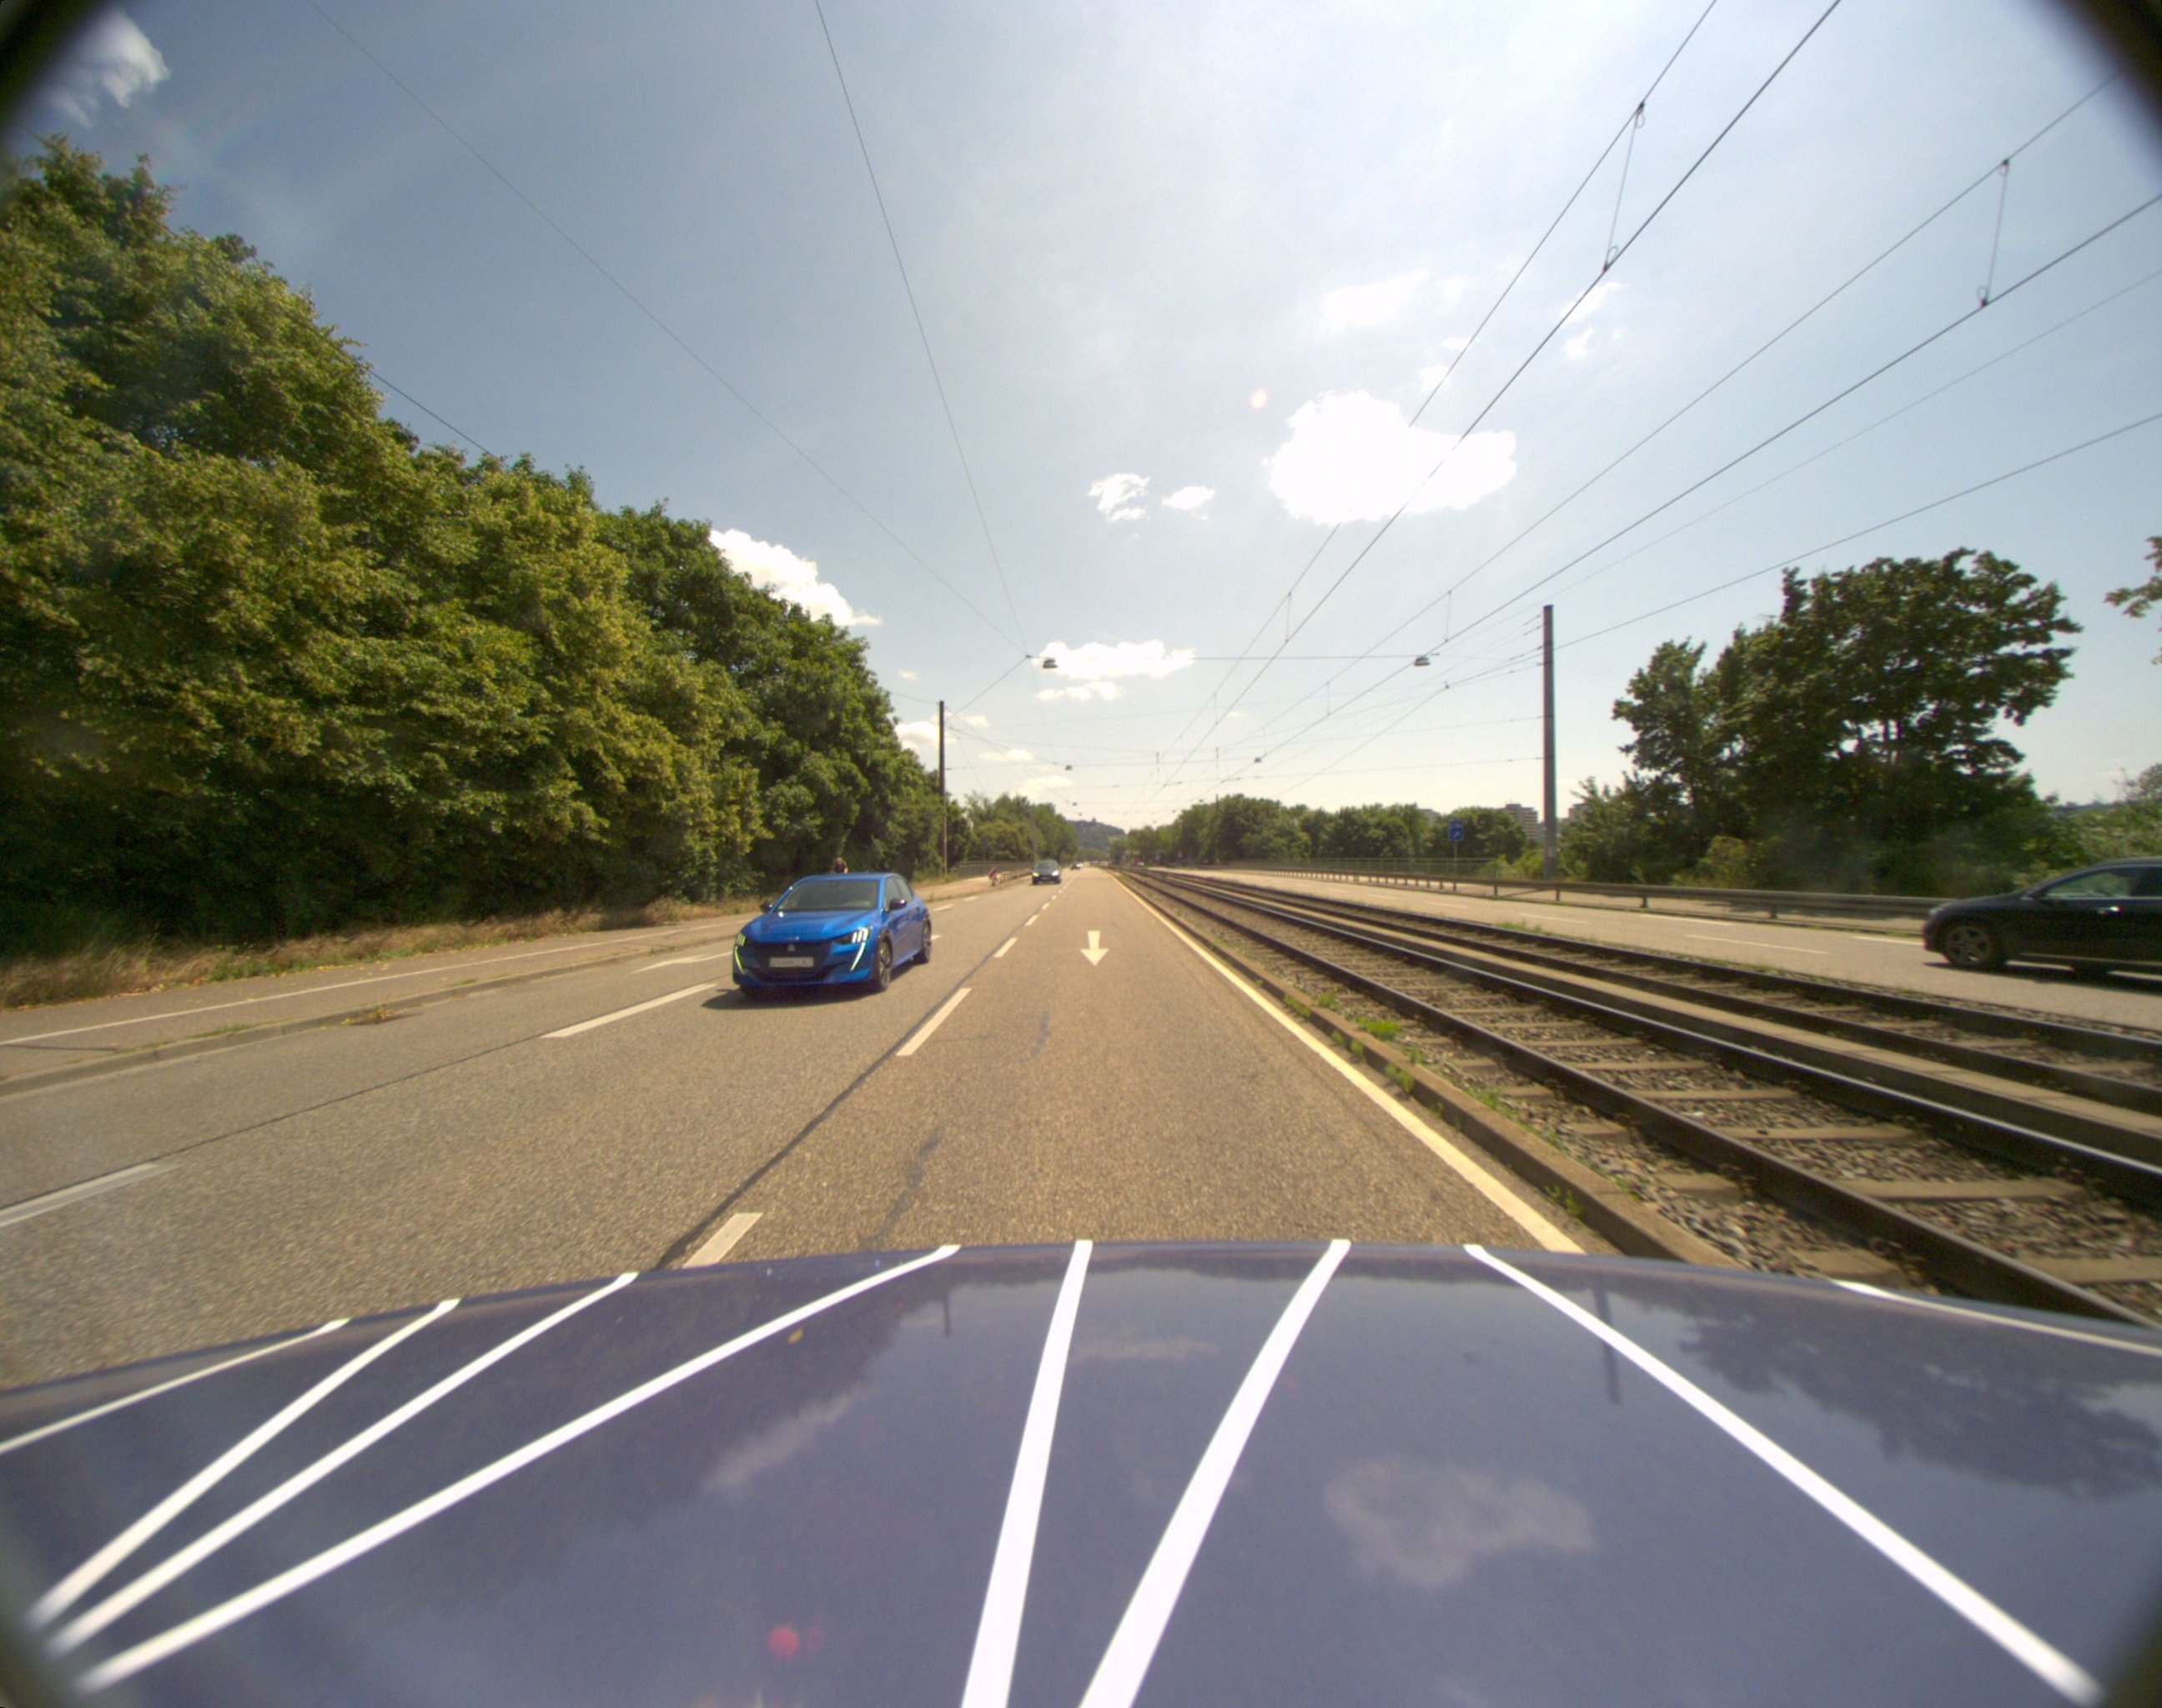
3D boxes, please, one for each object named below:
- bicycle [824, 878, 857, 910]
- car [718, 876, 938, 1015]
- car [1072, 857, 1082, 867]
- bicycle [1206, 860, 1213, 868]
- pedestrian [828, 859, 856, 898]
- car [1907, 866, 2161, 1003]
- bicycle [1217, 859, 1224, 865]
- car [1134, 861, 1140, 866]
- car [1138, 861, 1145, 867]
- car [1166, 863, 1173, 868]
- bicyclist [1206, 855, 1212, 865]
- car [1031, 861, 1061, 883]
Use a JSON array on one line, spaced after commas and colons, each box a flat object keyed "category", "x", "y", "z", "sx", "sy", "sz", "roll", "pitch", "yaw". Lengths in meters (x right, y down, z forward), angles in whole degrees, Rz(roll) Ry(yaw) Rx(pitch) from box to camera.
[{"category": "bicycle", "x": -8.536, "y": 1.402, "z": 27.019, "sx": 0.561, "sy": 1.018, "sz": 1.848, "roll": 0, "pitch": 0, "yaw": 1}, {"category": "car", "x": -3.182, "y": 1.080, "z": 10.353, "sx": 1.660, "sy": 1.397, "sz": 3.744, "roll": -2, "pitch": 0, "yaw": 1}, {"category": "car", "x": -0.770, "y": 1.555, "z": 148.515, "sx": 1.998, "sy": 2.002, "sz": 4.000, "roll": -2, "pitch": 0, "yaw": 0}, {"category": "bicycle", "x": 20.224, "y": 1.625, "z": 119.686, "sx": 0.859, "sy": 1.178, "sz": 2.062, "roll": -2, "pitch": 0, "yaw": 0}, {"category": "pedestrian", "x": -8.520, "y": 0.863, "z": 27.137, "sx": 0.629, "sy": 1.366, "sz": 1.050, "roll": 0, "pitch": 0, "yaw": 1}, {"category": "car", "x": 13.117, "y": 0.928, "z": 9.026, "sx": 1.822, "sy": 1.505, "sz": 4.428, "roll": 0, "pitch": 0, "yaw": 1}, {"category": "bicycle", "x": 19.832, "y": 1.163, "z": 107.864, "sx": 0.524, "sy": 0.838, "sz": 2.036, "roll": -2, "pitch": -1, "yaw": 0}, {"category": "car", "x": 18.779, "y": 3.219, "z": 255.409, "sx": 1.578, "sy": 1.392, "sz": 3.938, "roll": 0, "pitch": 0, "yaw": 1}, {"category": "car", "x": 17.278, "y": 2.854, "z": 215.776, "sx": 1.715, "sy": 1.412, "sz": 4.624, "roll": 0, "pitch": 0, "yaw": 1}, {"category": "car", "x": 23.960, "y": 3.009, "z": 205.892, "sx": 1.567, "sy": 1.339, "sz": 3.929, "roll": 0, "pitch": 0, "yaw": 1}, {"category": "bicyclist", "x": 20.132, "y": 0.955, "z": 119.562, "sx": 0.765, "sy": 1.612, "sz": 0.838, "roll": -2, "pitch": 0, "yaw": 1}, {"category": "car", "x": -2.274, "y": 1.161, "z": 50.342, "sx": 1.769, "sy": 1.359, "sz": 3.744, "roll": -2, "pitch": 0, "yaw": 1}]
